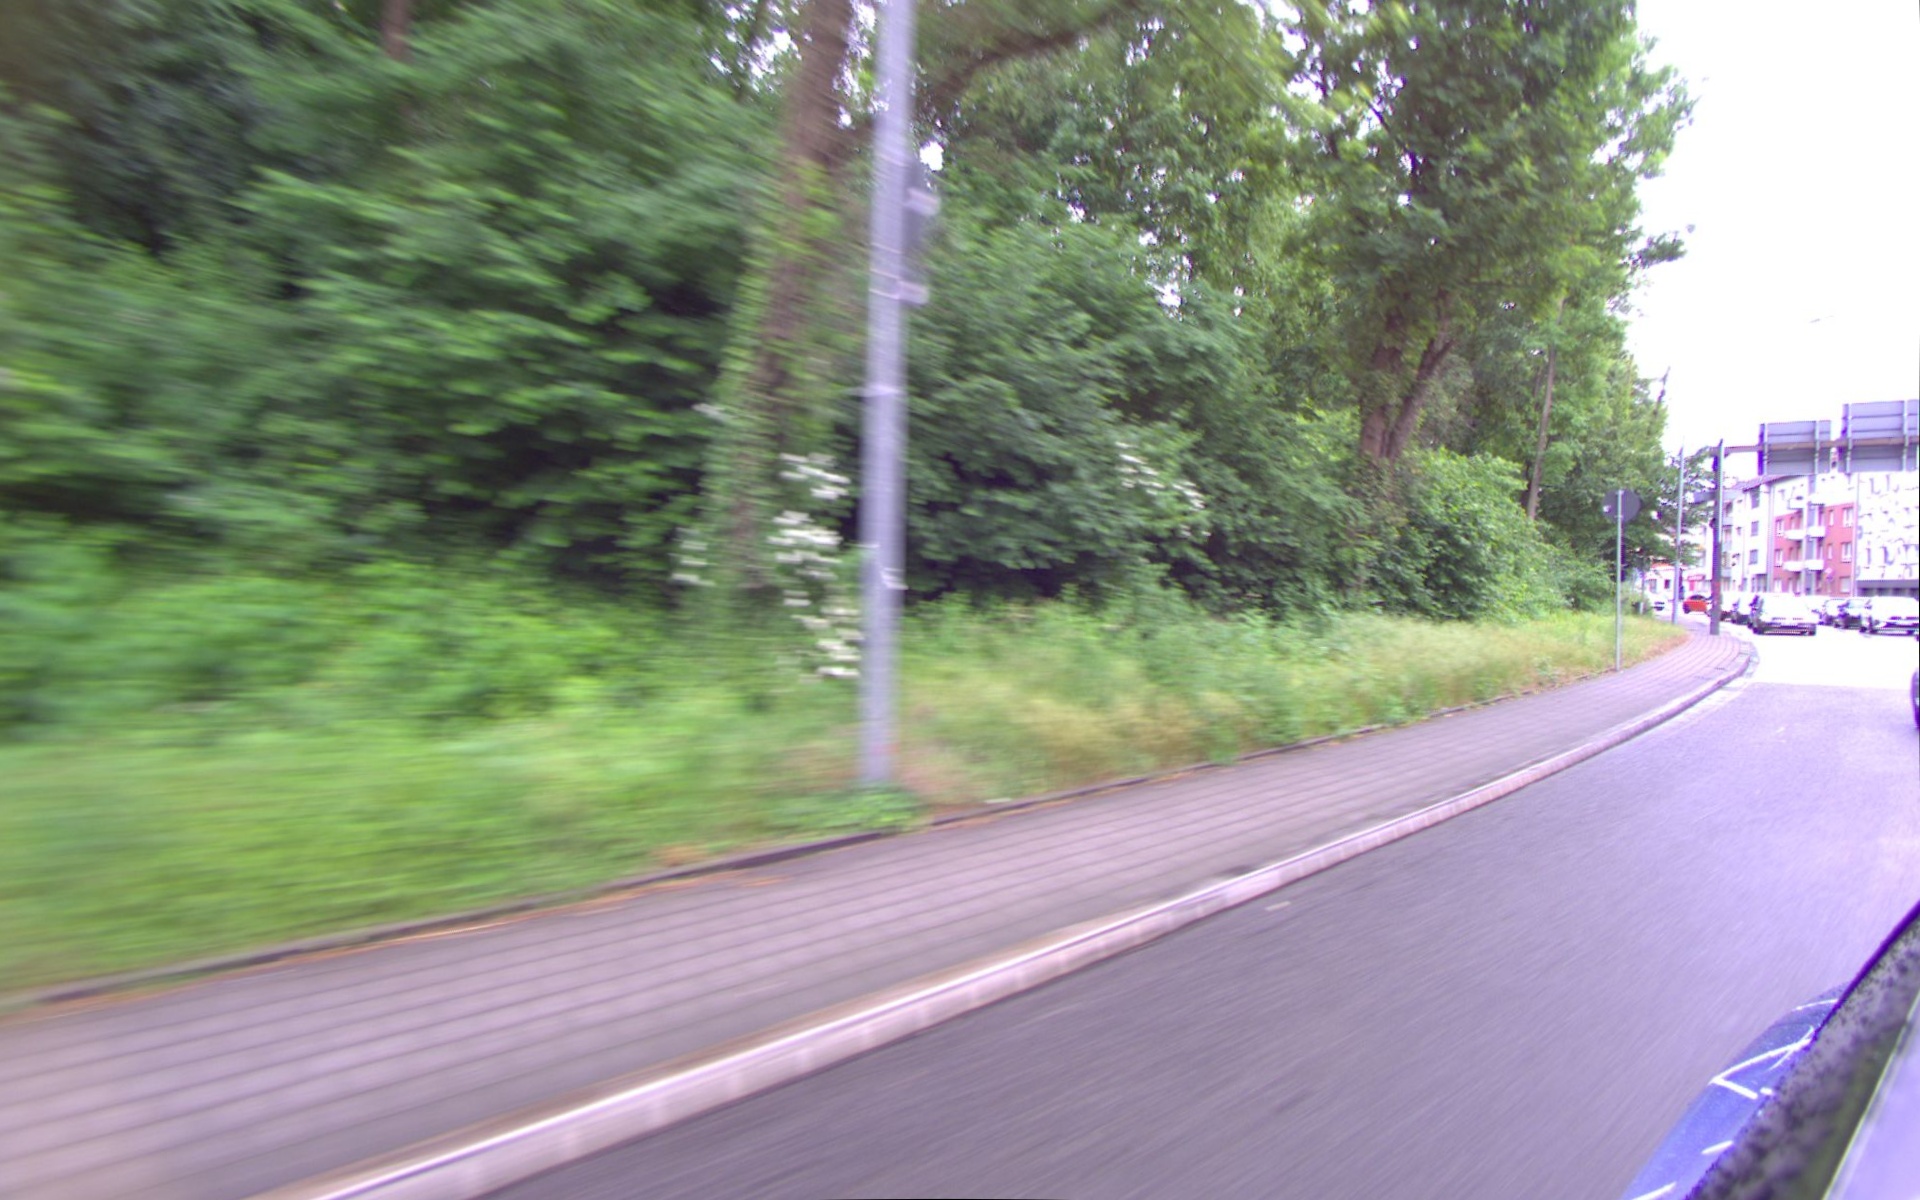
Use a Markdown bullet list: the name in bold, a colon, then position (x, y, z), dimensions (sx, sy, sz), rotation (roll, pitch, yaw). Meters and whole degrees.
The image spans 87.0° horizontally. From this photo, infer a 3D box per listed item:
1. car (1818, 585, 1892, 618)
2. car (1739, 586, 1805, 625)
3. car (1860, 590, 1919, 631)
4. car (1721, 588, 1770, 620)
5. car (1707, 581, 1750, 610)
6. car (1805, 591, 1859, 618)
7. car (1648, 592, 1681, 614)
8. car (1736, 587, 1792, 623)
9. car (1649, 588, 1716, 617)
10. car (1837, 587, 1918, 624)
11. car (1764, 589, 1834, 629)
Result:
- **car**: position (44.687, 0.027, 50.621), dimensions (1.985, 1.496, 4.568), rotation (2, 2, 32)
- **car**: position (35.934, 0.191, 44.907), dimensions (1.988, 1.637, 4.561), rotation (1, 1, 35)
- **car**: position (37.569, 0.387, 40.219), dimensions (1.865, 1.496, 4.503), rotation (2, 2, 32)
- **car**: position (43.412, 0.175, 56.023), dimensions (1.669, 1.676, 3.955), rotation (2, 2, 31)
- **car**: position (47.064, -0.298, 62.052), dimensions (1.669, 1.676, 3.955), rotation (2, 2, 31)
- **car**: position (47.470, 0.208, 55.156), dimensions (1.700, 1.411, 3.953), rotation (2, 1, 33)
- **car**: position (56.653, 0.211, 81.472), dimensions (1.896, 1.732, 4.840), rotation (1, 1, 32)
- **car**: position (40.221, 0.209, 50.683), dimensions (1.669, 1.676, 3.955), rotation (2, 2, 31)
- **car**: position (53.601, 0.156, 75.205), dimensions (1.964, 2.039, 4.484), rotation (1, 1, 4)
- **car**: position (41.305, 0.210, 45.655), dimensions (1.906, 1.496, 4.566), rotation (2, 2, 33)
- **car**: position (32.419, 0.317, 39.210), dimensions (1.810, 1.426, 4.177), rotation (1, 1, 36)
